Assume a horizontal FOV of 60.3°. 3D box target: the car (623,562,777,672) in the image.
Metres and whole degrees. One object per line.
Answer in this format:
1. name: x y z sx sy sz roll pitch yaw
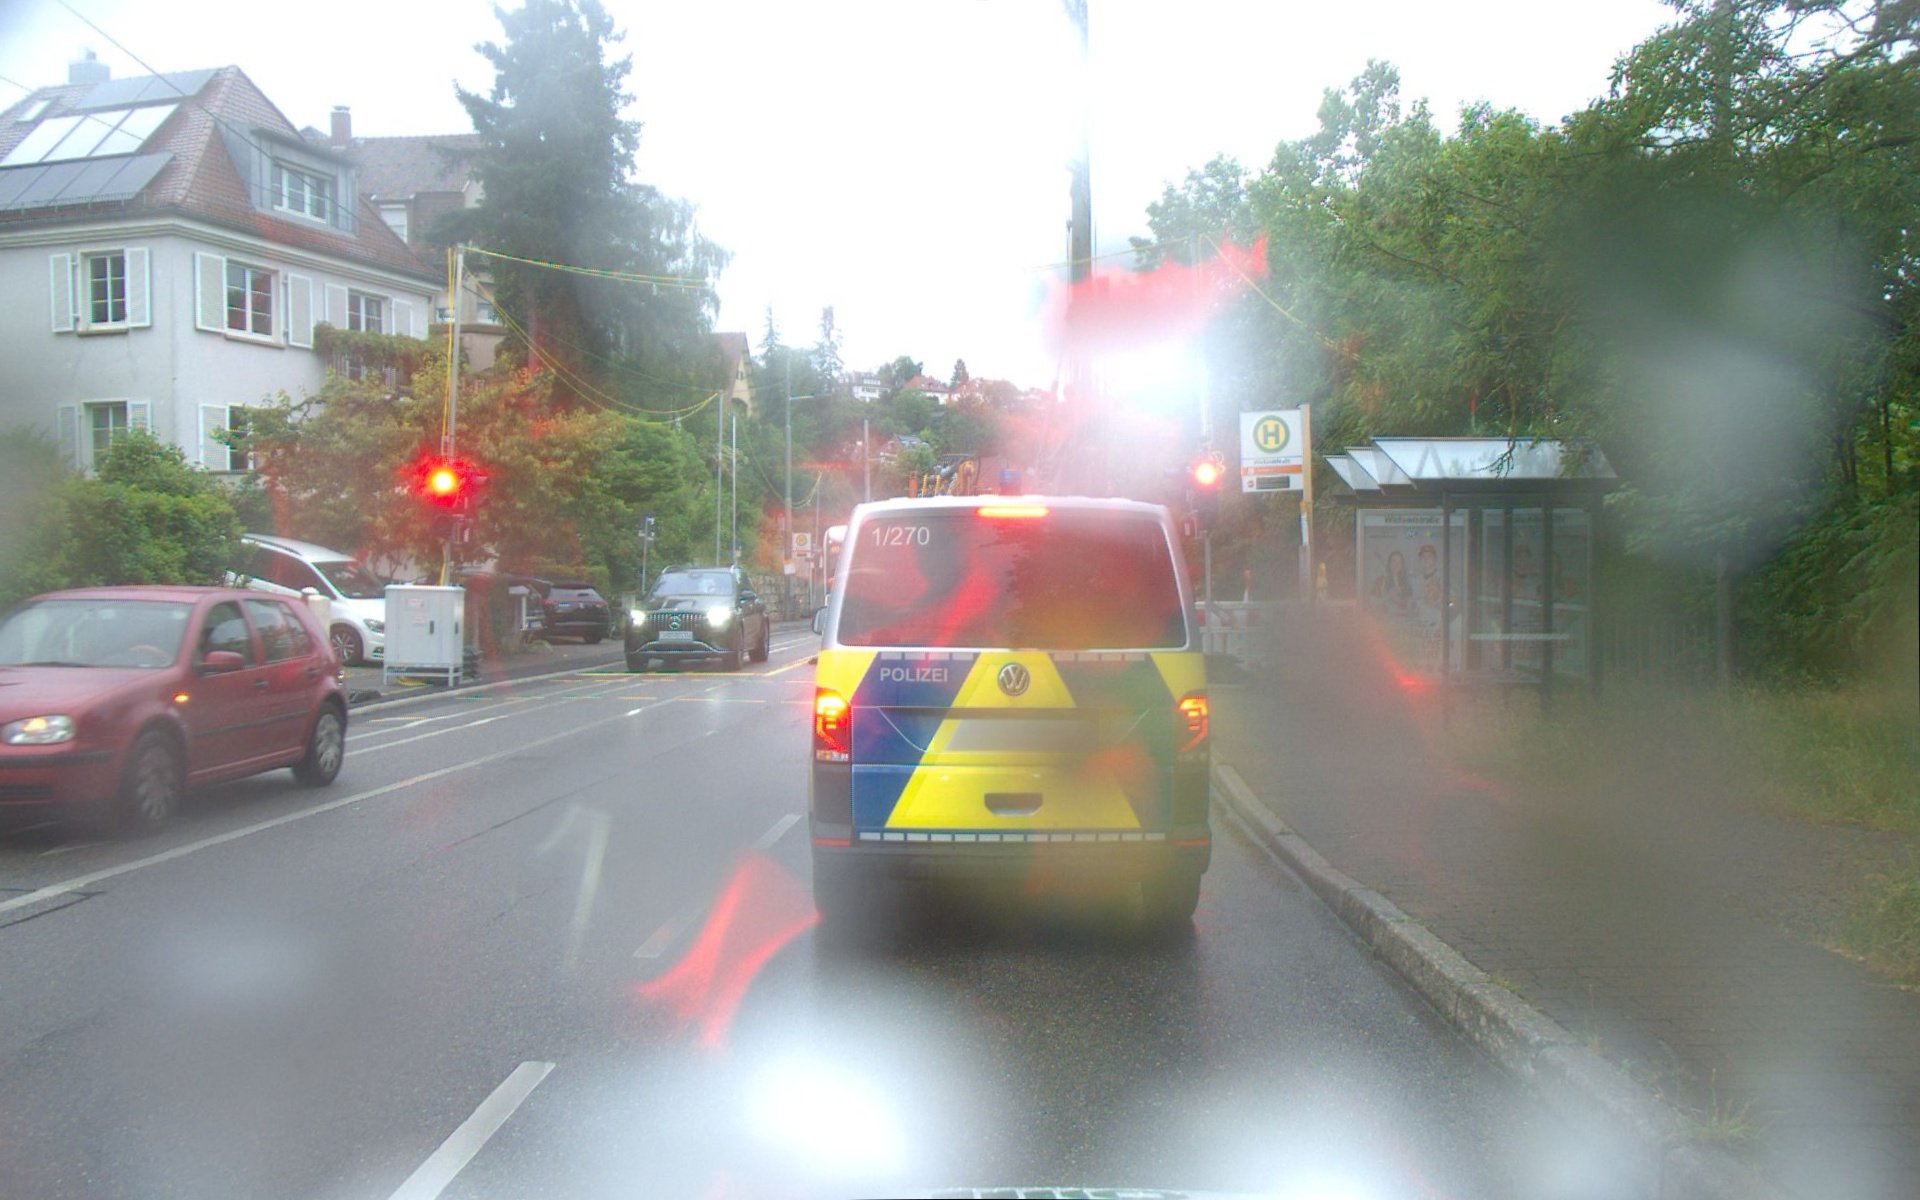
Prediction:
1. car: -4.550 0.256 29.645 1.938 1.778 4.554 1 1 1

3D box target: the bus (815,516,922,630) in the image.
1. bus: -3.228 -0.944 61.639 2.782 3.783 12.009 1 0 2

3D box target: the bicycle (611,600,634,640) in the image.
1. bicycle: -8.051 0.464 39.451 0.455 0.913 1.628 0 0 -15

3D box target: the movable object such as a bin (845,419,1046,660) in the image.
1. movable object such as a bin: -0.163 -1.096 31.634 2.770 4.250 4.384 1 0 14

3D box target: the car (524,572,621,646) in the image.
1. car: -8.908 0.173 37.825 1.739 1.512 3.721 1 2 -20

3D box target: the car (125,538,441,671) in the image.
1. car: -11.206 0.055 27.486 4.532 2.042 1.902 1 0 11

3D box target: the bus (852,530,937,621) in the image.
1. bus: -2.755 -1.041 73.520 2.782 3.688 12.009 1 0 2

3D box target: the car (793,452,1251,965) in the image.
1. car: 0.229 0.436 8.817 1.855 2.086 3.999 1 0 -1

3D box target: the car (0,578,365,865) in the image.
1. car: -5.417 0.614 10.630 1.728 1.488 3.886 1 1 1
